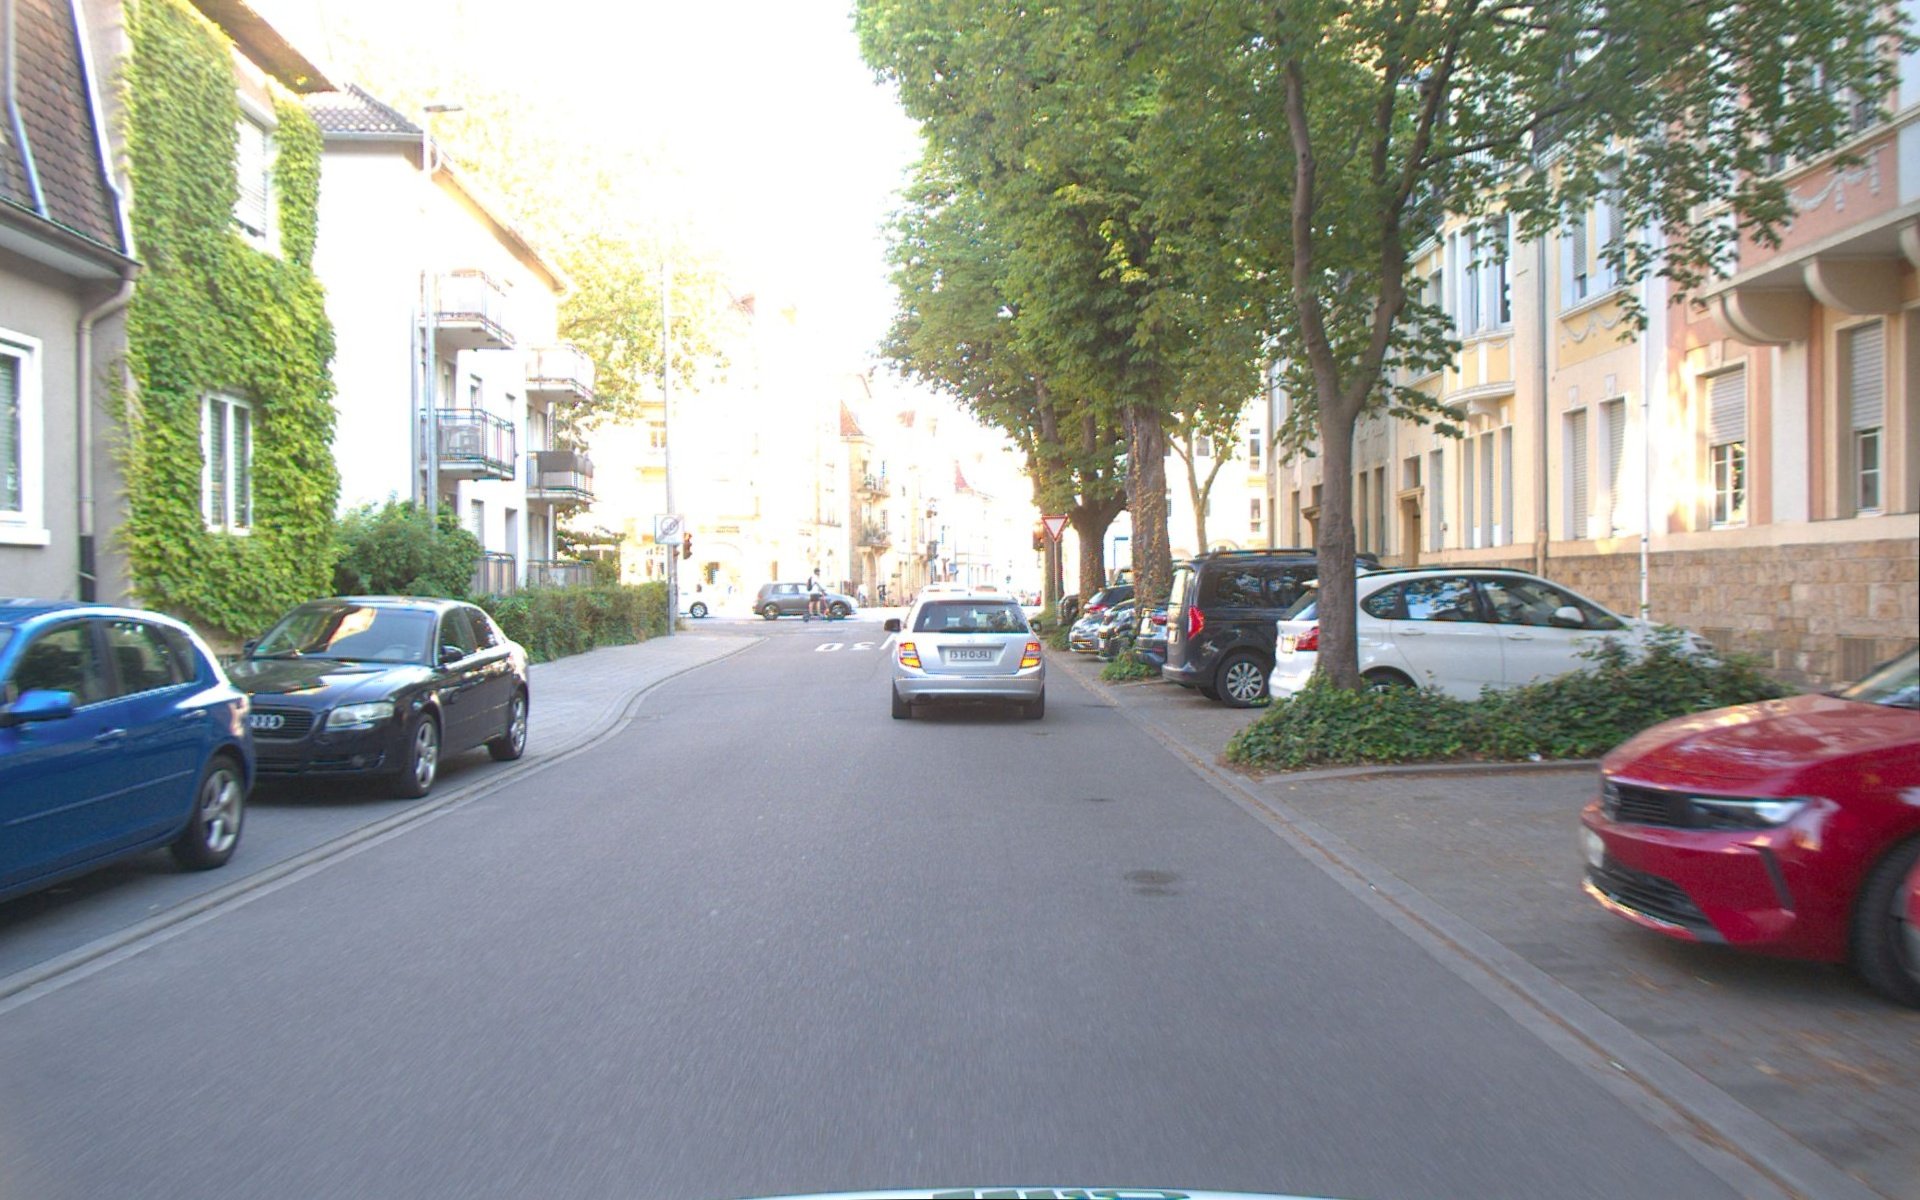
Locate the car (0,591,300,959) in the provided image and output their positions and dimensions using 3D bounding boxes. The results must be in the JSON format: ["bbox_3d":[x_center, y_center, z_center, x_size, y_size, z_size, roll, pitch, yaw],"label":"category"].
[{"bbox_3d":[-4.812,0.733,7.879,1.620,1.472,4.237,1,1,0],"label":"car"}]

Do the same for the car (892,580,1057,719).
[{"bbox_3d":[0.165,0.529,19.646,1.747,1.462,3.851,1,0,0],"label":"car"}]

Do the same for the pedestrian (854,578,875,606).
[{"bbox_3d":[-5.997,-0.526,104.006,1.195,1.751,1.504,1,0,3],"label":"pedestrian"}]

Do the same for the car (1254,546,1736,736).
[{"bbox_3d":[5.043,0.365,15.998,4.027,1.599,1.877,-2,0,-1],"label":"car"}]

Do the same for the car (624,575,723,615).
[{"bbox_3d":[-11.461,-0.222,66.164,3.821,1.541,1.702,0,1,-13],"label":"car"}]

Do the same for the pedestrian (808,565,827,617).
[{"bbox_3d":[-5.299,-0.333,61.488,0.630,1.898,0.409,-2,1,-4],"label":"pedestrian"}]

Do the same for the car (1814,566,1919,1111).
[{"bbox_3d":[4.664,0.585,4.095,4.103,1.501,1.852,-2,0,2],"label":"car"}]

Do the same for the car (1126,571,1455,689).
[{"bbox_3d":[4.547,0.387,23.164,4.202,1.568,1.876,0,1,-3],"label":"car"}]

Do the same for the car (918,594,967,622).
[{"bbox_3d":[-1.052,0.473,100.964,1.951,1.612,4.003,0,1,15],"label":"car"}]

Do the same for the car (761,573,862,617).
[{"bbox_3d":[-5.782,-0.221,64.152,3.816,1.671,1.751,0,1,-9],"label":"car"}]

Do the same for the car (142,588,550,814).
[{"bbox_3d":[-4.691,0.666,13.351,1.660,1.472,4.357,1,1,0],"label":"car"}]

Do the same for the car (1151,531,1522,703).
[{"bbox_3d":[4.615,0.188,20.688,4.135,1.929,1.905,-2,0,-3],"label":"car"}]

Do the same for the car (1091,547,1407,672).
[{"bbox_3d":[4.799,0.131,27.951,4.952,2.024,2.071,0,1,-3],"label":"car"}]

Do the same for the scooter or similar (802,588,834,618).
[{"bbox_3d":[-5.267,0.095,61.495,1.152,1.070,0.409,-2,1,-4],"label":"scooter or similar"}]

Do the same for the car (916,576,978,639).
[{"bbox_3d":[-0.323,0.173,44.201,1.590,1.597,3.680,0,1,0],"label":"car"}]

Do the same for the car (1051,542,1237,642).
[{"bbox_3d":[4.489,-0.213,40.787,4.301,2.405,1.999,0,1,-3],"label":"car"}]

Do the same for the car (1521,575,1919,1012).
[{"bbox_3d":[4.713,0.600,6.558,4.320,1.444,1.877,-2,0,2],"label":"car"}]

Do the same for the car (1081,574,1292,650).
[{"bbox_3d":[4.775,0.238,35.254,4.202,1.568,1.898,0,1,-3],"label":"car"}]

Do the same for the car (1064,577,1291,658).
[{"bbox_3d":[4.269,0.318,32.872,4.202,1.442,1.876,-2,1,-3],"label":"car"}]
